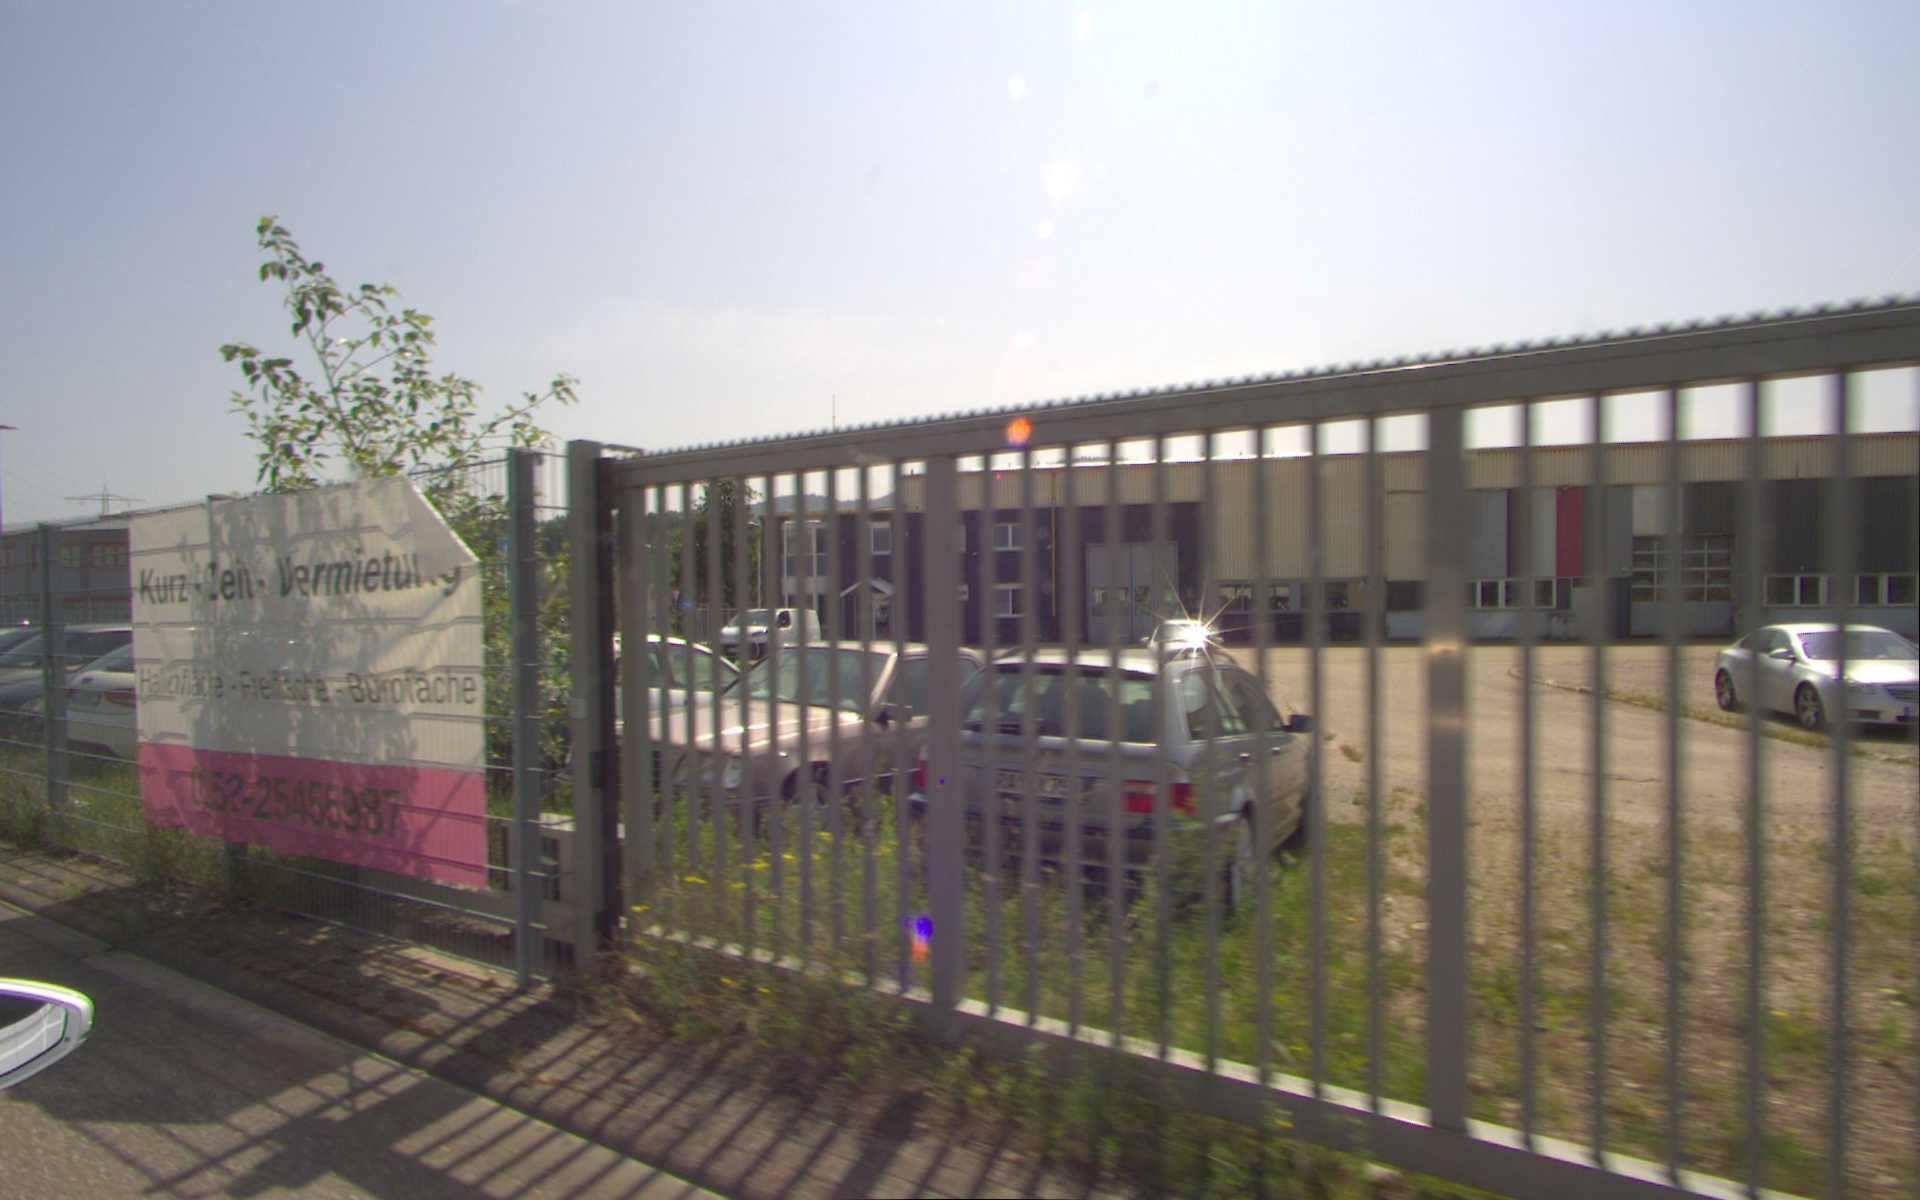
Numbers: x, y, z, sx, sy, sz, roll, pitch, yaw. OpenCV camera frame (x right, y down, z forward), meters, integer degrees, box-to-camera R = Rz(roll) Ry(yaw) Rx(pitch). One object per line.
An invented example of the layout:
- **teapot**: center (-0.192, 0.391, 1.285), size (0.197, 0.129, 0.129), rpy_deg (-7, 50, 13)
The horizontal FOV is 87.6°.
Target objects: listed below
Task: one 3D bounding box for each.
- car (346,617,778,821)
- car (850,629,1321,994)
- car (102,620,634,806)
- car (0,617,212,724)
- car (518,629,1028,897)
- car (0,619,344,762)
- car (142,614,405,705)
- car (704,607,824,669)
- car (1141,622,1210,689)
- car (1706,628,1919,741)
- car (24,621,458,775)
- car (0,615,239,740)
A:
- **car**: center (-3.169, 0.837, 8.572), size (1.504, 1.371, 3.266), rpy_deg (-1, -1, 28)
- **car**: center (1.145, 0.993, 6.355), size (1.612, 1.492, 4.164), rpy_deg (-1, -3, 28)
- **car**: center (-5.368, 0.889, 9.709), size (1.697, 1.371, 4.179), rpy_deg (-1, -1, 29)
- **car**: center (-14.220, 1.027, 14.975), size (1.799, 1.493, 4.527), rpy_deg (-1, -1, 33)
- **car**: center (-1.075, 0.922, 7.324), size (1.714, 1.371, 3.658), rpy_deg (-1, -1, 30)
- **car**: center (-10.012, 1.011, 12.468), size (1.724, 1.496, 3.650), rpy_deg (-3, -2, 24)
- **car**: center (-17.534, 1.476, 25.840), size (5.242, 2.177, 1.906), rpy_deg (0, 0, -9)
- **car**: center (-6.503, 1.226, 33.942), size (1.824, 1.924, 5.069), rpy_deg (-1, -1, 17)
- **car**: center (5.275, 1.297, 24.381), size (1.507, 1.454, 3.664), rpy_deg (0, -1, 13)
- **car**: center (12.970, 1.136, 14.863), size (1.597, 1.368, 4.517), rpy_deg (-1, -1, 17)
- **car**: center (-7.741, 1.056, 11.135), size (1.612, 1.405, 3.524), rpy_deg (-1, -5, 29)
- **car**: center (-12.103, 0.971, 13.464), size (1.685, 1.521, 3.535), rpy_deg (-1, -1, 29)
